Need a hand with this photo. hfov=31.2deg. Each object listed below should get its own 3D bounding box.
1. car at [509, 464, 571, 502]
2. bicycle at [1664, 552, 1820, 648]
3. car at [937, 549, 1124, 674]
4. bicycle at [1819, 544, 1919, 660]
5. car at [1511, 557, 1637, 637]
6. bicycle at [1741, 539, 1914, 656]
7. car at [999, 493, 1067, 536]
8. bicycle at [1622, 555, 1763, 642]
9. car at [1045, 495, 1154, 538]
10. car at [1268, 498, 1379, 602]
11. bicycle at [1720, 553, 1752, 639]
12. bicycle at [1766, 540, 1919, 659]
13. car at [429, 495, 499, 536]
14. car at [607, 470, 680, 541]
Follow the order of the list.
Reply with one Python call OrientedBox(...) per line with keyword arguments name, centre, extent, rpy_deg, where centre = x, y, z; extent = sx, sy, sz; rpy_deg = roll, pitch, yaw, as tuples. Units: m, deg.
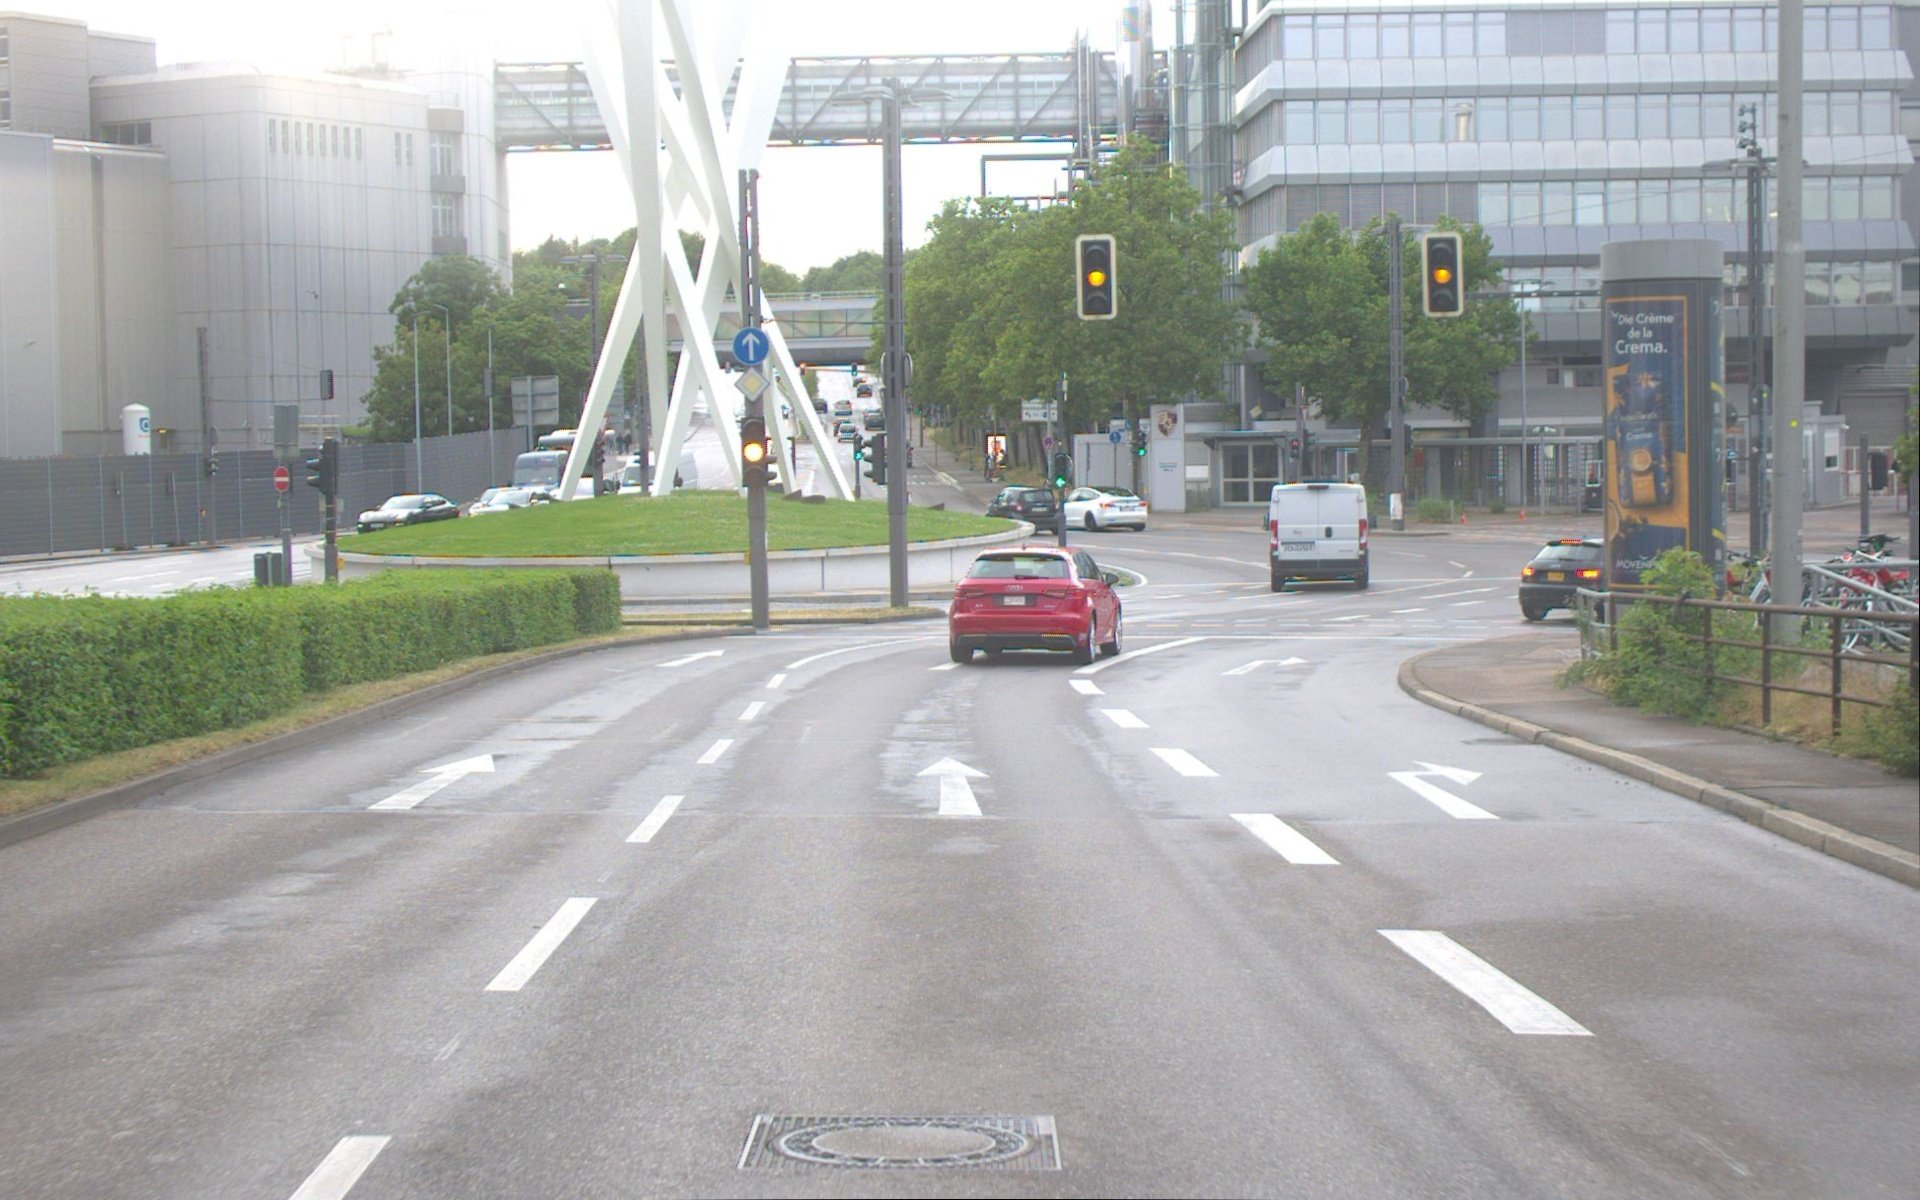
OrientedBox(name="car", centre=(-16.933, -4.698, 138.691), extent=(1.833, 1.467, 4.514), rpy_deg=(-1, 2, 1))
OrientedBox(name="bicycle", centre=(9.827, -0.002, 43.241), extent=(1.800, 1.157, 0.592), rpy_deg=(-2, 0, 2))
OrientedBox(name="car", centre=(0.918, 0.119, 42.643), extent=(1.773, 1.459, 3.731), rpy_deg=(-1, 1, 10))
OrientedBox(name="bicycle", centre=(10.068, -0.002, 36.166), extent=(1.925, 1.174, 0.599), rpy_deg=(-2, 1, -16))
OrientedBox(name="car", centre=(10.410, -0.067, 58.129), extent=(1.611, 1.286, 3.563), rpy_deg=(-1, 1, 18))
OrientedBox(name="bicycle", centre=(9.526, -0.035, 37.725), extent=(1.926, 1.219, 0.599), rpy_deg=(-2, 1, -29))
OrientedBox(name="car", centre=(2.271, -2.657, 107.120), extent=(1.556, 1.284, 3.414), rpy_deg=(-1, 1, -8))
OrientedBox(name="bicycle", centre=(9.817, -0.022, 46.120), extent=(1.770, 1.136, 0.678), rpy_deg=(-1, 0, 7))
OrientedBox(name="car", centre=(4.405, -2.637, 109.236), extent=(1.667, 1.296, 3.886), rpy_deg=(-1, 1, -29))
OrientedBox(name="car", centre=(7.782, -1.047, 73.266), extent=(2.233, 2.100, 4.953), rpy_deg=(-1, 0, 7))
OrientedBox(name="bicycle", centre=(10.683, -0.060, 47.315), extent=(0.385, 1.158, 2.000), rpy_deg=(-1, 0, 14))
OrientedBox(name="bicycle", centre=(9.618, -0.016, 36.990), extent=(1.926, 1.219, 0.599), rpy_deg=(-2, 1, -31))
OrientedBox(name="car", centre=(-18.234, -3.108, 126.650), extent=(1.833, 1.467, 4.514), rpy_deg=(-1, 2, 1))
OrientedBox(name="car", centre=(-11.392, -3.415, 123.938), extent=(1.993, 2.438, 5.427), rpy_deg=(-1, 2, 1))
